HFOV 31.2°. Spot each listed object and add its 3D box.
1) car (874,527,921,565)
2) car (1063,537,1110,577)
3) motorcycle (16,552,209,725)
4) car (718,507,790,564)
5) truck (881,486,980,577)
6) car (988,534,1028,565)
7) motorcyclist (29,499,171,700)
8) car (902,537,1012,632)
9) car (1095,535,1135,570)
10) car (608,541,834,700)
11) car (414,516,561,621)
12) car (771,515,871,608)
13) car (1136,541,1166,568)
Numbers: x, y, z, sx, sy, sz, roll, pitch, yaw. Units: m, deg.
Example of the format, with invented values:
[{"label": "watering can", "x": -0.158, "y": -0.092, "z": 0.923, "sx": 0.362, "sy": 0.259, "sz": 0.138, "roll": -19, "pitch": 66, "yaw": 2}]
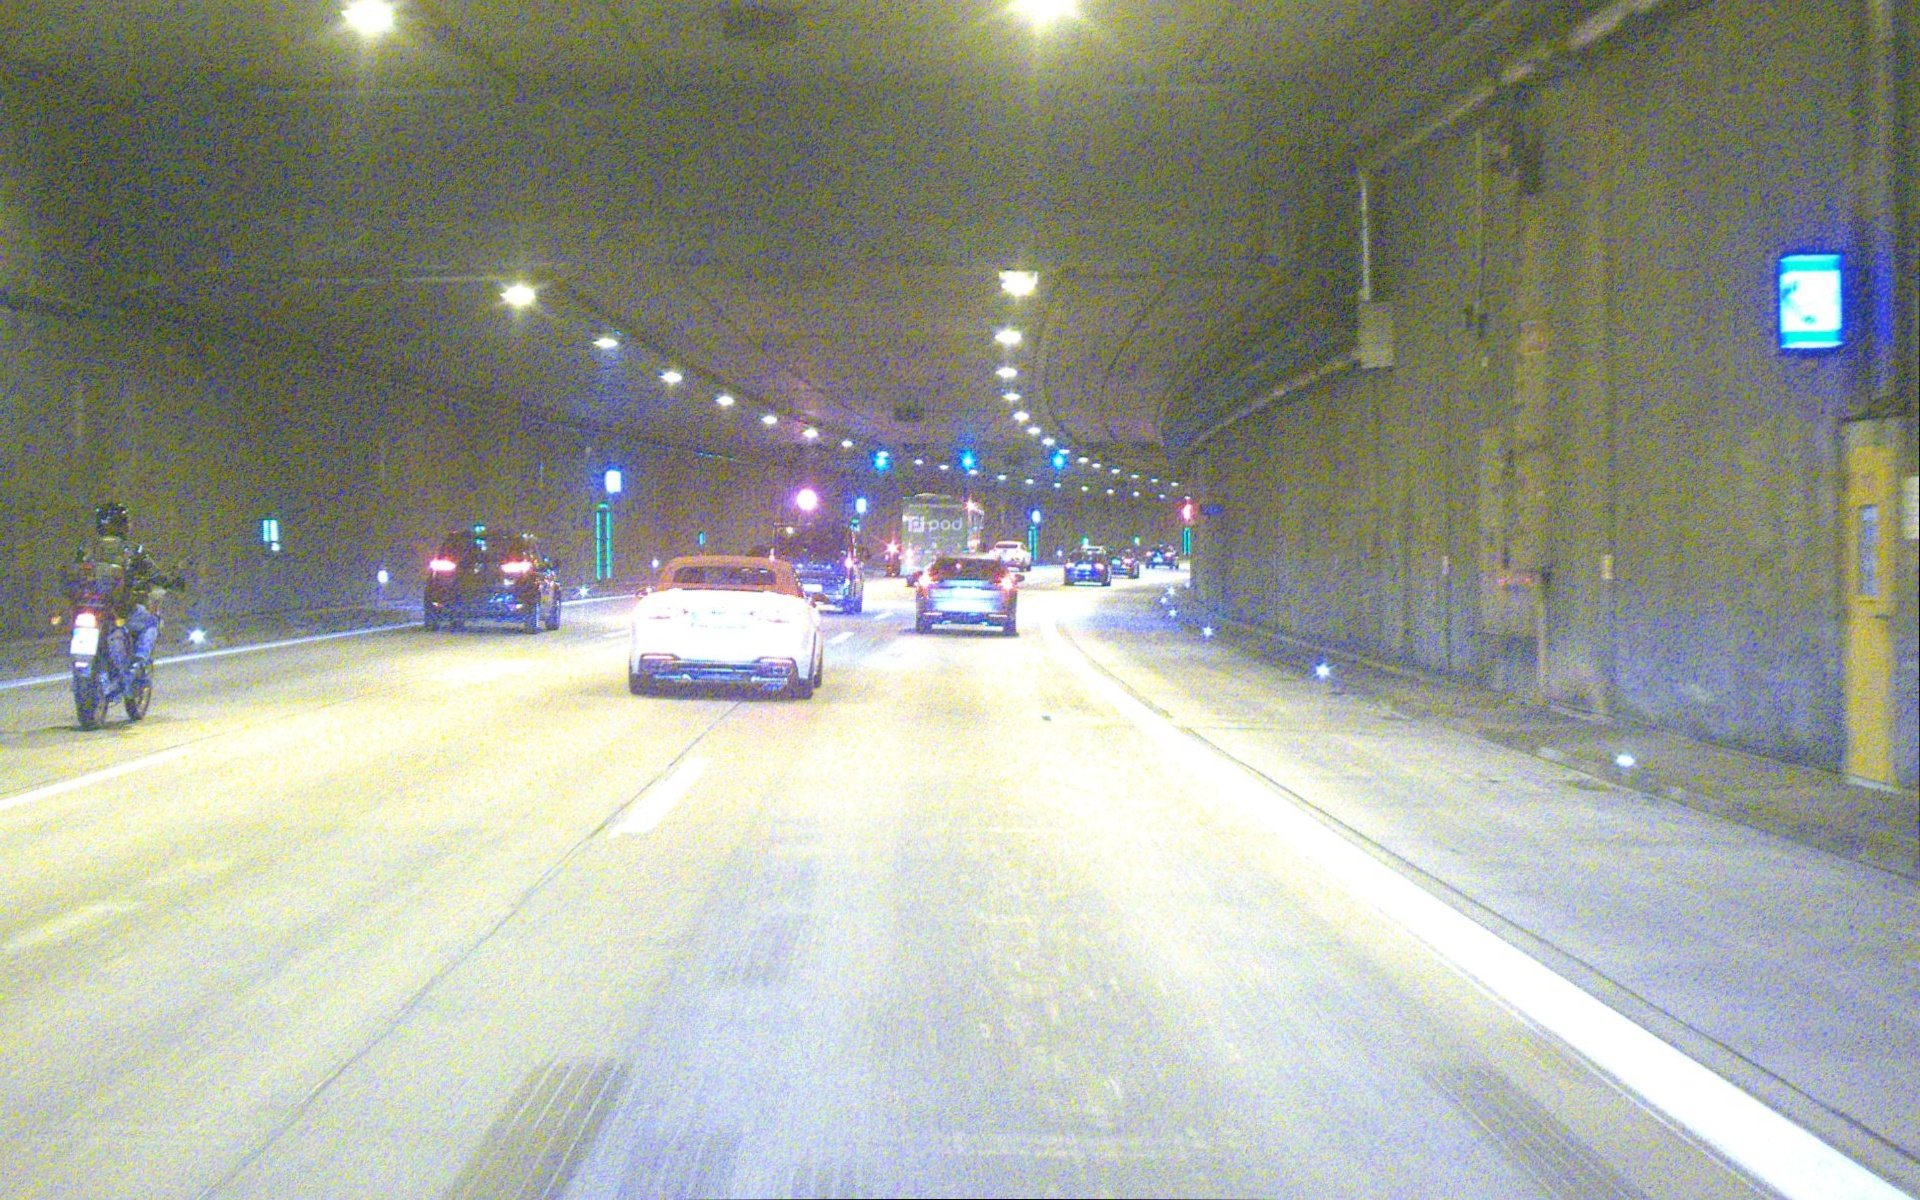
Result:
[{"label": "car", "x": -2.636, "y": -2.287, "z": 146.073, "sx": 1.843, "sy": 1.598, "sz": 4.000, "roll": 0, "pitch": 1, "yaw": 1}, {"label": "car", "x": 5.080, "y": -1.750, "z": 138.827, "sx": 1.844, "sy": 1.562, "sz": 4.000, "roll": 0, "pitch": 1, "yaw": 1}, {"label": "motorcycle", "x": -6.471, "y": 0.262, "z": 26.403, "sx": 0.845, "sy": 1.241, "sz": 2.605, "roll": 0, "pitch": 1, "yaw": 0}, {"label": "car", "x": -6.314, "y": -1.976, "z": 105.720, "sx": 1.800, "sy": 1.678, "sz": 4.000, "roll": -2, "pitch": 1, "yaw": 2}, {"label": "truck", "x": -0.992, "y": -2.535, "z": 124.584, "sx": 3.083, "sy": 3.102, "sz": 10.029, "roll": -1, "pitch": 2, "yaw": 2}, {"label": "car", "x": 2.537, "y": -2.662, "z": 179.835, "sx": 1.830, "sy": 1.612, "sz": 4.000, "roll": 0, "pitch": 1, "yaw": 5}, {"label": "motorcyclist", "x": -6.502, "y": -0.009, "z": 26.032, "sx": 0.839, "sy": 1.472, "sz": 0.821, "roll": -2, "pitch": 1, "yaw": -1}, {"label": "car", "x": -0.088, "y": -0.299, "z": 62.069, "sx": 1.839, "sy": 1.597, "sz": 4.000, "roll": 2, "pitch": 1, "yaw": -1}, {"label": "car", "x": 7.547, "y": -2.312, "z": 167.285, "sx": 1.858, "sy": 1.660, "sz": 4.000, "roll": 0, "pitch": 1, "yaw": 1}, {"label": "car", "x": -2.366, "y": 0.163, "z": 34.989, "sx": 1.993, "sy": 1.478, "sz": 4.000, "roll": 1, "pitch": 1, "yaw": 0}, {"label": "car", "x": -7.440, "y": -0.517, "z": 54.407, "sx": 1.785, "sy": 1.593, "sz": 3.801, "roll": 0, "pitch": 1, "yaw": 0}, {"label": "car", "x": -3.037, "y": -0.853, "z": 75.708, "sx": 1.993, "sy": 1.965, "sz": 4.000, "roll": 1, "pitch": 1, "yaw": 0}, {"label": "car", "x": 12.019, "y": -2.842, "z": 216.075, "sx": 1.833, "sy": 1.685, "sz": 4.000, "roll": 0, "pitch": 1, "yaw": 3}]
